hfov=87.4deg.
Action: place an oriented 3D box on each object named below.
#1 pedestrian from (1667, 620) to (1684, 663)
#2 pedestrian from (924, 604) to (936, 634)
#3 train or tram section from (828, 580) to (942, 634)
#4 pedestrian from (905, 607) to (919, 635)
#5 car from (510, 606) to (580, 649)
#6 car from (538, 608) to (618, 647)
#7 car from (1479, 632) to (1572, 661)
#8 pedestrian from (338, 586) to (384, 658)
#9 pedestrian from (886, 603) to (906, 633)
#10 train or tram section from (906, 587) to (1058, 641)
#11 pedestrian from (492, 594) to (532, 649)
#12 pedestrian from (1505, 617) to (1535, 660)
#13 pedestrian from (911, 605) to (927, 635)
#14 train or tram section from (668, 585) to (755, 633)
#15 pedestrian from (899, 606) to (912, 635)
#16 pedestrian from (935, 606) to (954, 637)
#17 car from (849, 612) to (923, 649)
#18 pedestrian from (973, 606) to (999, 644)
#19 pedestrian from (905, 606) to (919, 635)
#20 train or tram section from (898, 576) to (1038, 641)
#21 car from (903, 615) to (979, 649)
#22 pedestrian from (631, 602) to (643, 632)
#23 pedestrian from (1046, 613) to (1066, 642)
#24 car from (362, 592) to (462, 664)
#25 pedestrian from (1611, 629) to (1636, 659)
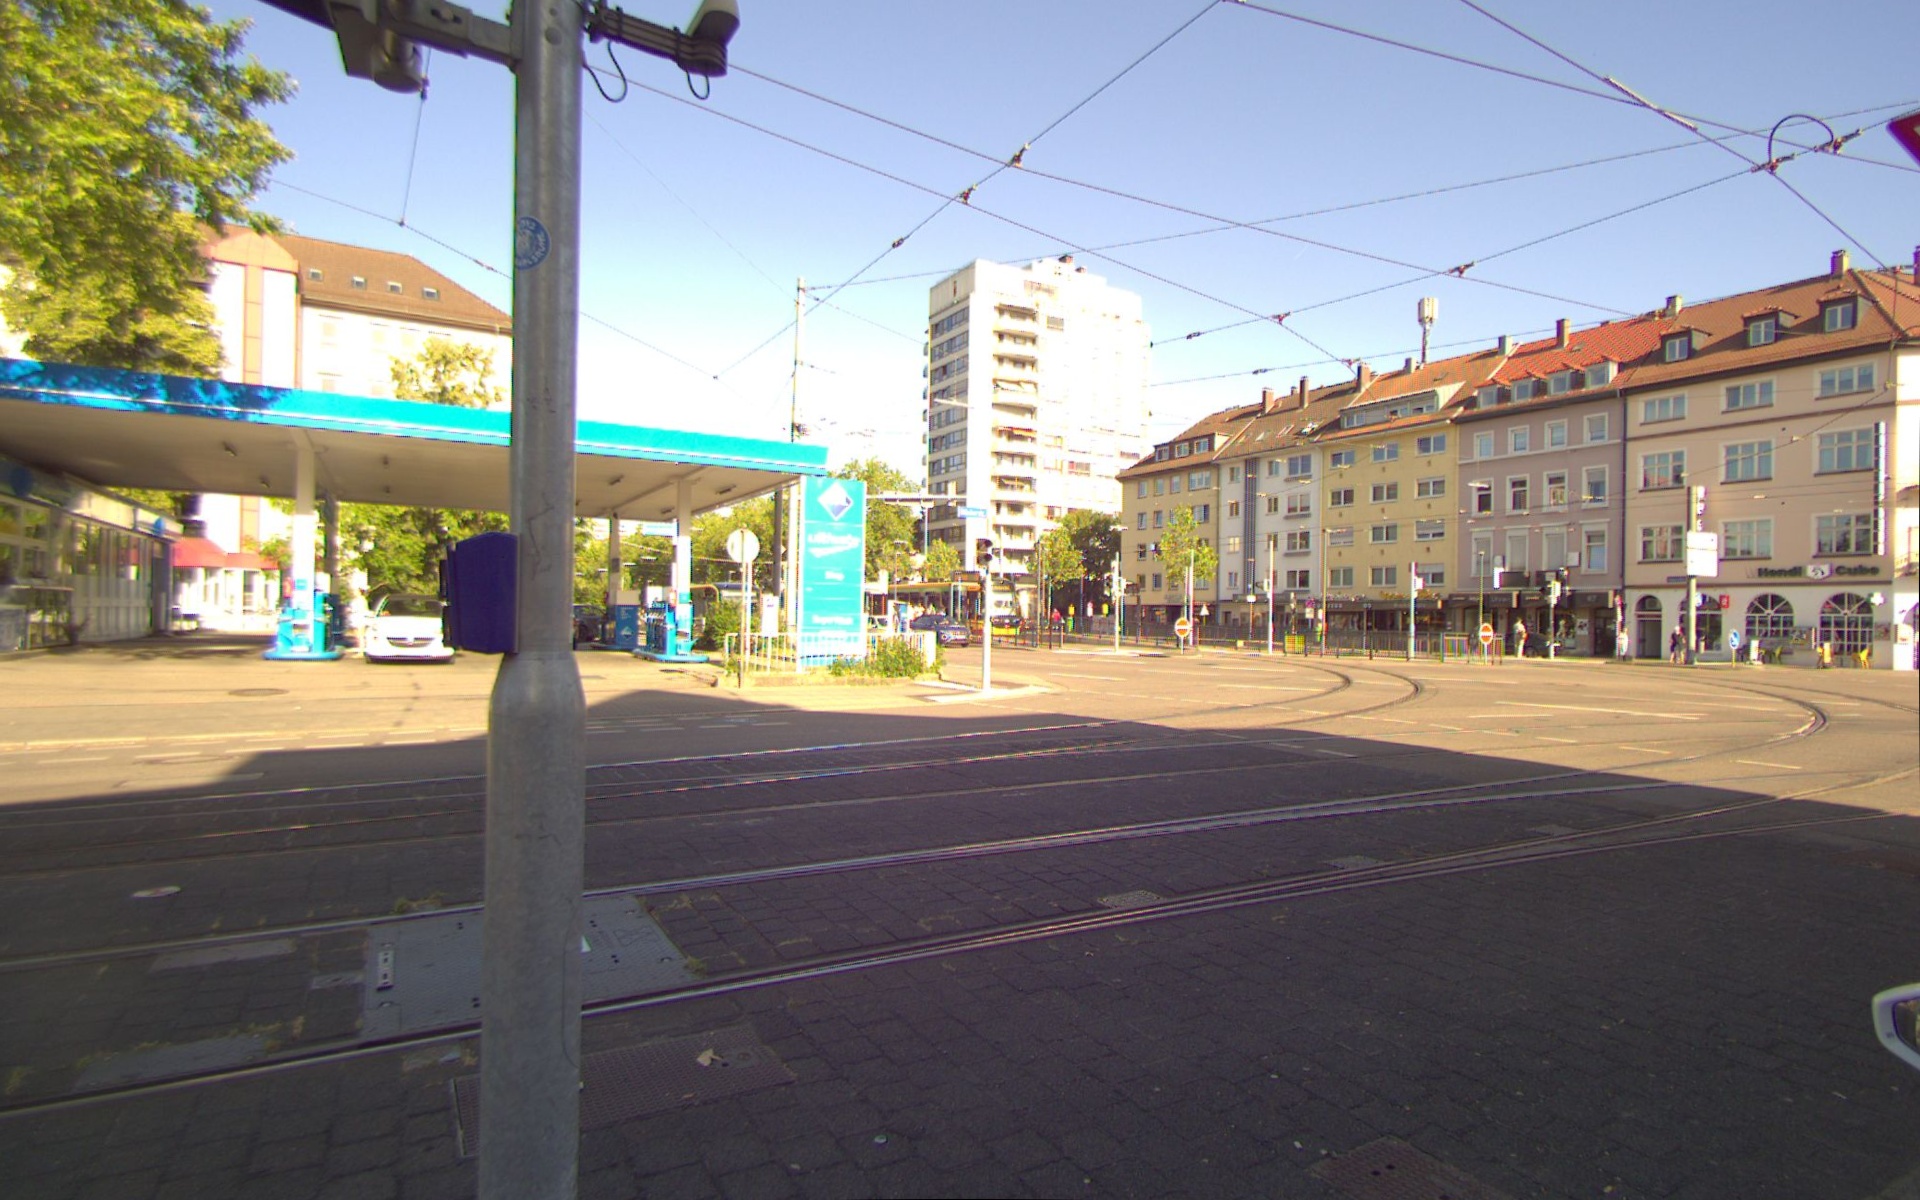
[{"bbox_3d":[34.215,1.982,48.028,0.498,2.040,0.507,1,-1,-27],"label":"pedestrian"},{"bbox_3d":[-1.701,1.094,57.228,0.491,1.721,0.553,1,-1,-33],"label":"pedestrian"},{"bbox_3d":[-5.246,0.523,67.588,3.252,3.335,10.157,1,-1,-33],"label":"train or tram section"},{"bbox_3d":[-2.856,1.252,59.693,0.708,1.646,0.703,1,-1,9],"label":"pedestrian"},{"bbox_3d":[-13.497,0.866,32.584,1.752,1.332,3.520,1,-1,-28],"label":"car"},{"bbox_3d":[-17.199,1.215,45.389,1.960,1.685,4.001,1,-1,2],"label":"car"},{"bbox_3d":[30.780,2.496,54.722,1.980,1.483,3.962,1,-1,-34],"label":"car"},{"bbox_3d":[-13.868,0.507,23.285,0.801,1.652,0.643,1,-1,-24],"label":"pedestrian"},{"bbox_3d":[-3.892,1.090,60.817,0.902,1.826,0.887,1,-1,-33],"label":"pedestrian"},{"bbox_3d":[1.201,1.045,75.719,3.275,3.617,16.451,1,-1,-30],"label":"train or tram section"},{"bbox_3d":[-15.123,0.708,33.914,0.896,1.826,0.893,0,-1,34],"label":"pedestrian"},{"bbox_3d":[24.500,1.695,43.962,0.801,1.842,0.871,1,-1,-29],"label":"pedestrian"},{"bbox_3d":[-2.384,1.155,58.140,0.768,1.721,0.696,1,-1,-12],"label":"pedestrian"},{"bbox_3d":[-15.026,0.455,60.045,2.233,2.627,10.398,2,0,-30],"label":"train or tram section"},{"bbox_3d":[-3.161,1.194,58.266,0.500,1.646,0.605,0,-1,30],"label":"pedestrian"},{"bbox_3d":[-0.859,1.186,55.063,0.791,1.646,0.706,1,-1,-33],"label":"pedestrian"},{"bbox_3d":[-3.502,1.396,46.813,1.976,1.615,3.970,1,-1,-29],"label":"car"},{"bbox_3d":[1.269,1.212,48.450,0.902,1.826,0.887,1,-1,-33],"label":"pedestrian"},{"bbox_3d":[-2.803,1.204,58.212,0.506,1.646,0.666,0,-1,30],"label":"pedestrian"},{"bbox_3d":[0.234,0.520,58.970,3.252,3.459,10.157,1,-1,-33],"label":"train or tram section"},{"bbox_3d":[-0.954,1.494,48.355,1.937,1.475,4.077,1,0,-30],"label":"car"},{"bbox_3d":[-21.879,1.142,68.133,0.675,2.040,0.856,1,-1,-14],"label":"pedestrian"},{"bbox_3d":[6.852,1.959,71.969,0.942,2.040,1.214,1,-1,-25],"label":"pedestrian"},{"bbox_3d":[-12.267,0.608,22.440,1.773,1.461,3.968,2,-1,-30],"label":"car"},{"bbox_3d":[35.074,2.325,53.122,0.849,1.547,0.786,1,-1,-29],"label":"pedestrian"}]
